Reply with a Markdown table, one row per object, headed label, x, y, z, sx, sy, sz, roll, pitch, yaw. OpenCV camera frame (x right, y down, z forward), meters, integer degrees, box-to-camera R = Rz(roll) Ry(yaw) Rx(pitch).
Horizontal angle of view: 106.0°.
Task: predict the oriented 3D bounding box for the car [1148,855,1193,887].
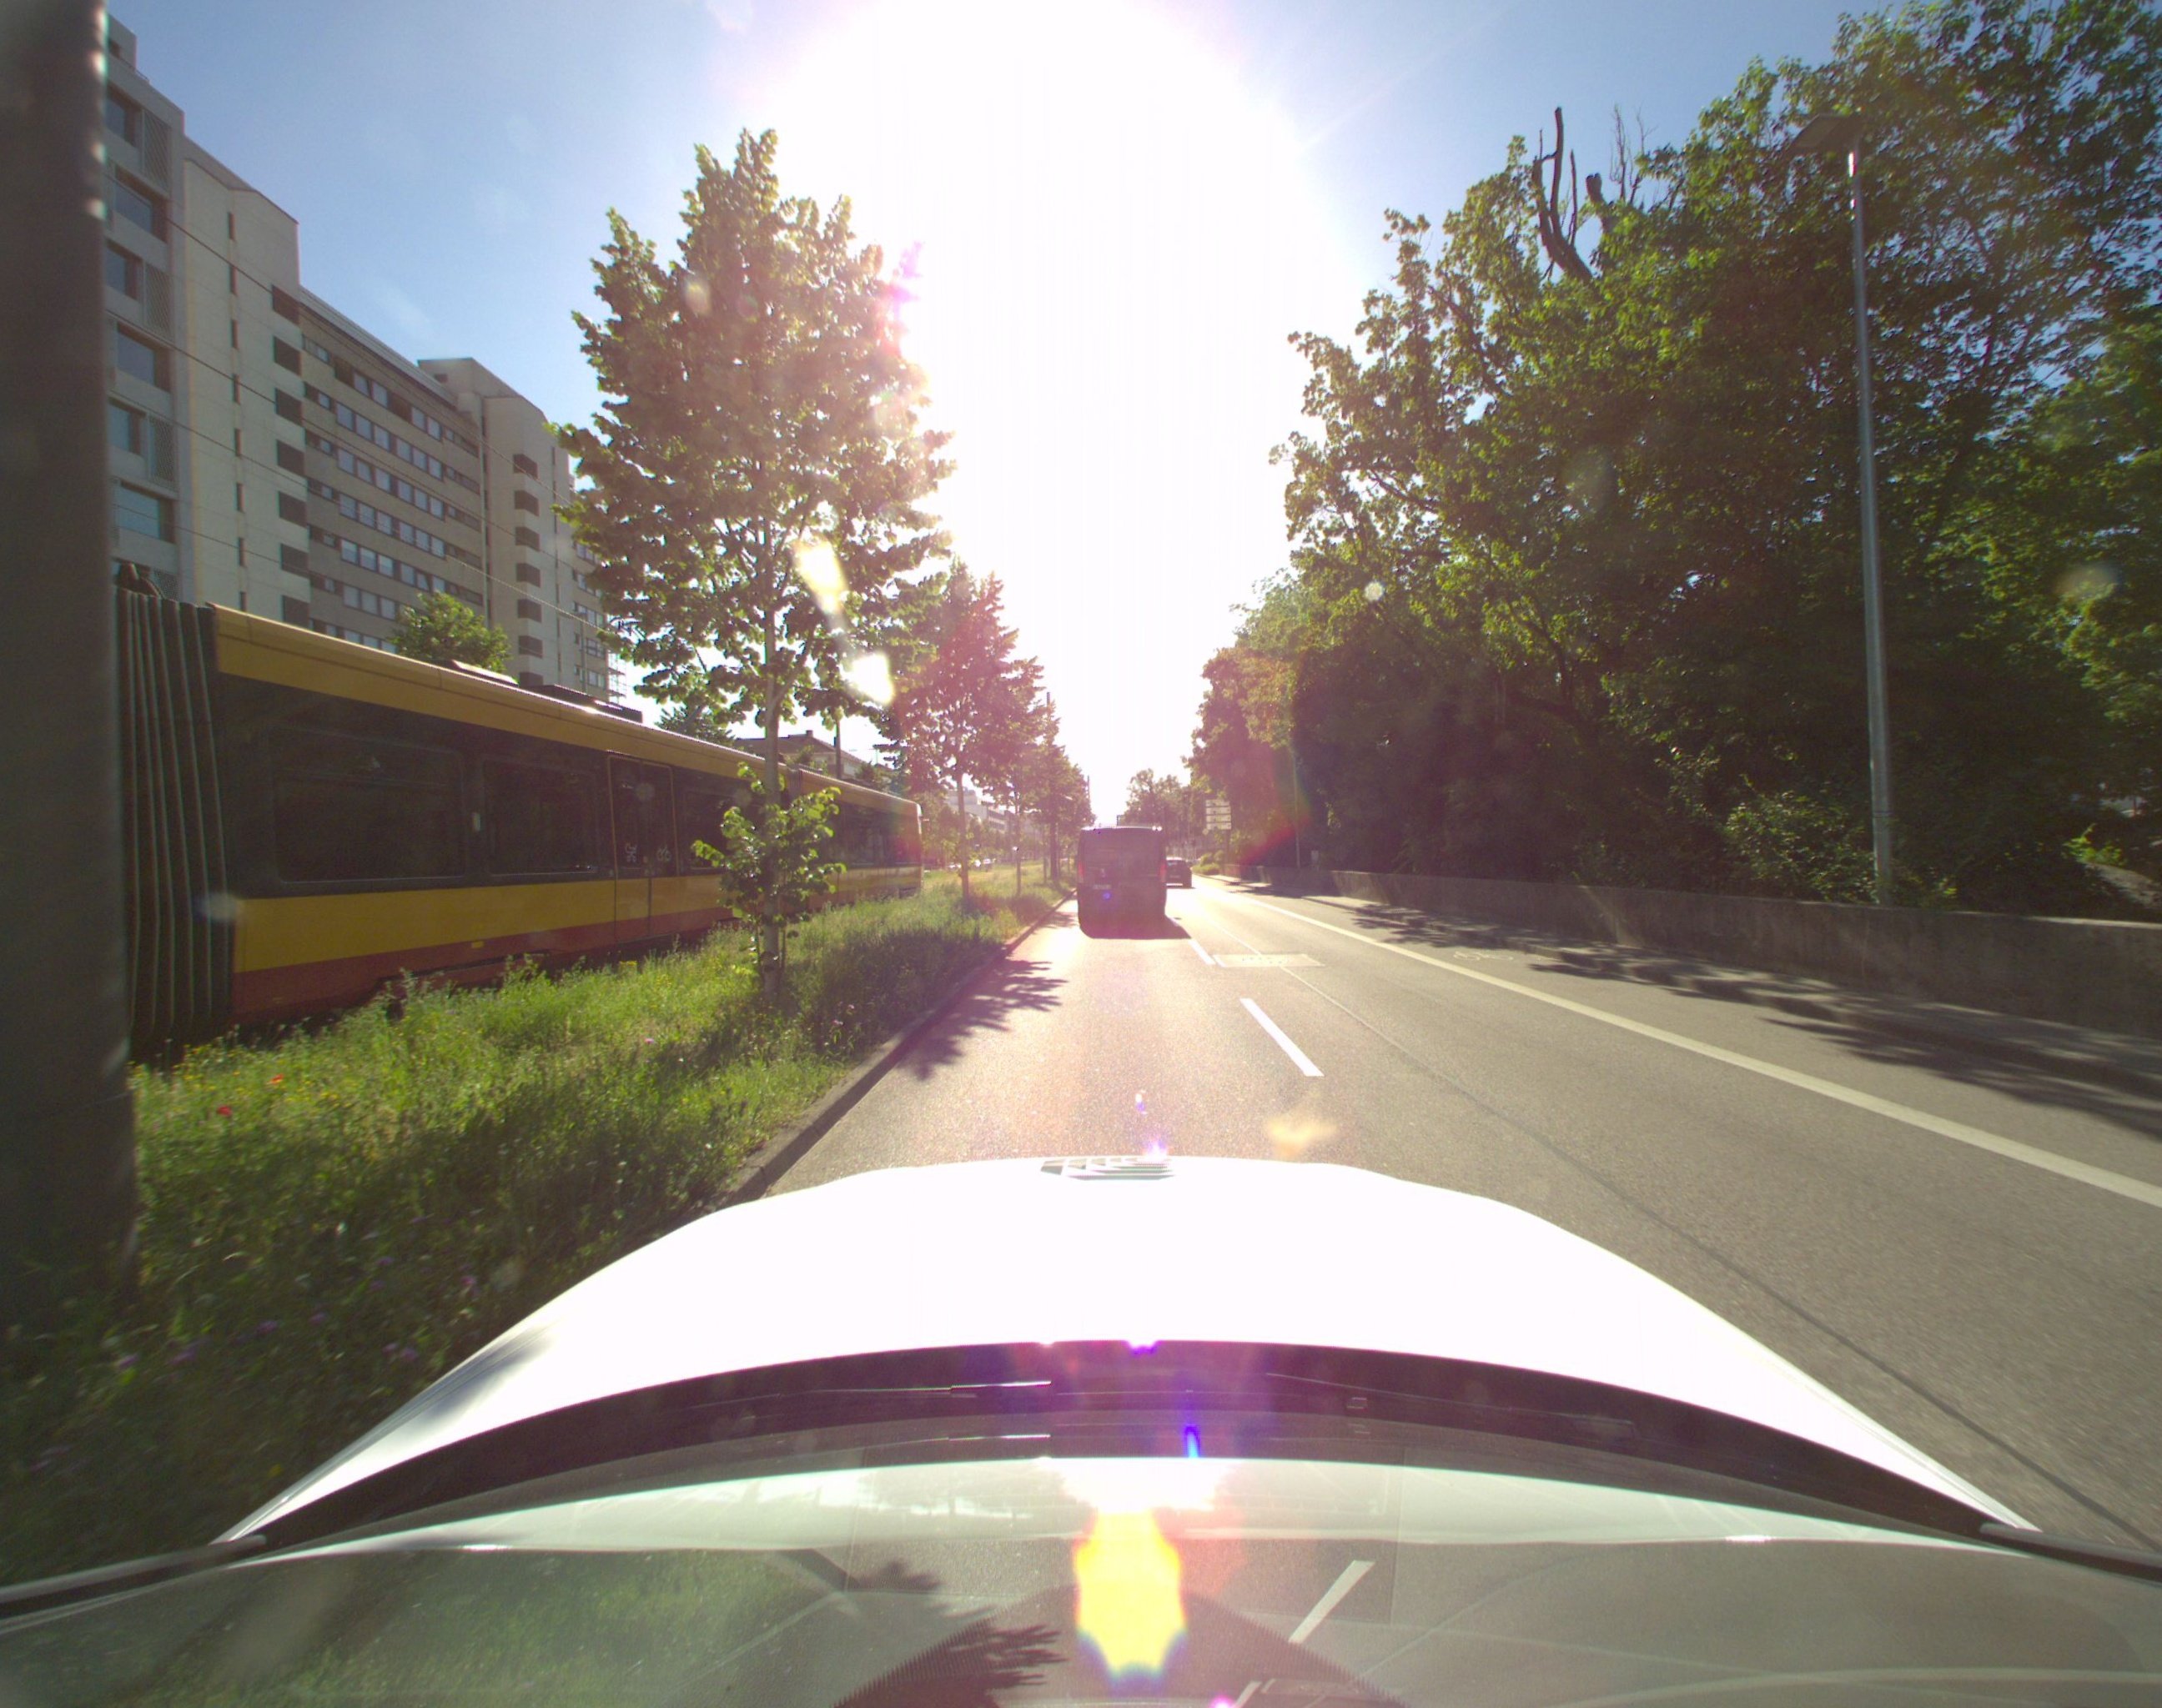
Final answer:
| label | x | y | z | sx | sy | sz | roll | pitch | yaw |
| --- | --- | --- | --- | --- | --- | --- | --- | --- | --- |
| car | 4.369 | 0.816 | 40.301 | 1.757 | 1.462 | 3.999 | -1 | 0 | 0 |

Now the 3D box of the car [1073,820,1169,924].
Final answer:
| label | x | y | z | sx | sy | sz | roll | pitch | yaw |
| --- | --- | --- | --- | --- | --- | --- | --- | --- | --- |
| car | 0.929 | 0.402 | 19.914 | 2.074 | 2.249 | 4.001 | -1 | 0 | 1 |

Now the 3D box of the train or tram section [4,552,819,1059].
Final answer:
| label | x | y | z | sx | sy | sz | roll | pitch | yaw |
| --- | --- | --- | --- | --- | --- | --- | --- | --- | --- |
| train or tram section | -6.720 | -0.335 | 11.600 | 1.986 | 3.669 | 11.320 | -1 | 0 | 2 |

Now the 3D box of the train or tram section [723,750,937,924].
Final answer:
| label | x | y | z | sx | sy | sz | roll | pitch | yaw |
| --- | --- | --- | --- | --- | --- | --- | --- | --- | --- |
| train or tram section | -6.350 | -0.343 | 23.084 | 1.986 | 3.669 | 11.689 | -1 | 0 | 2 |
